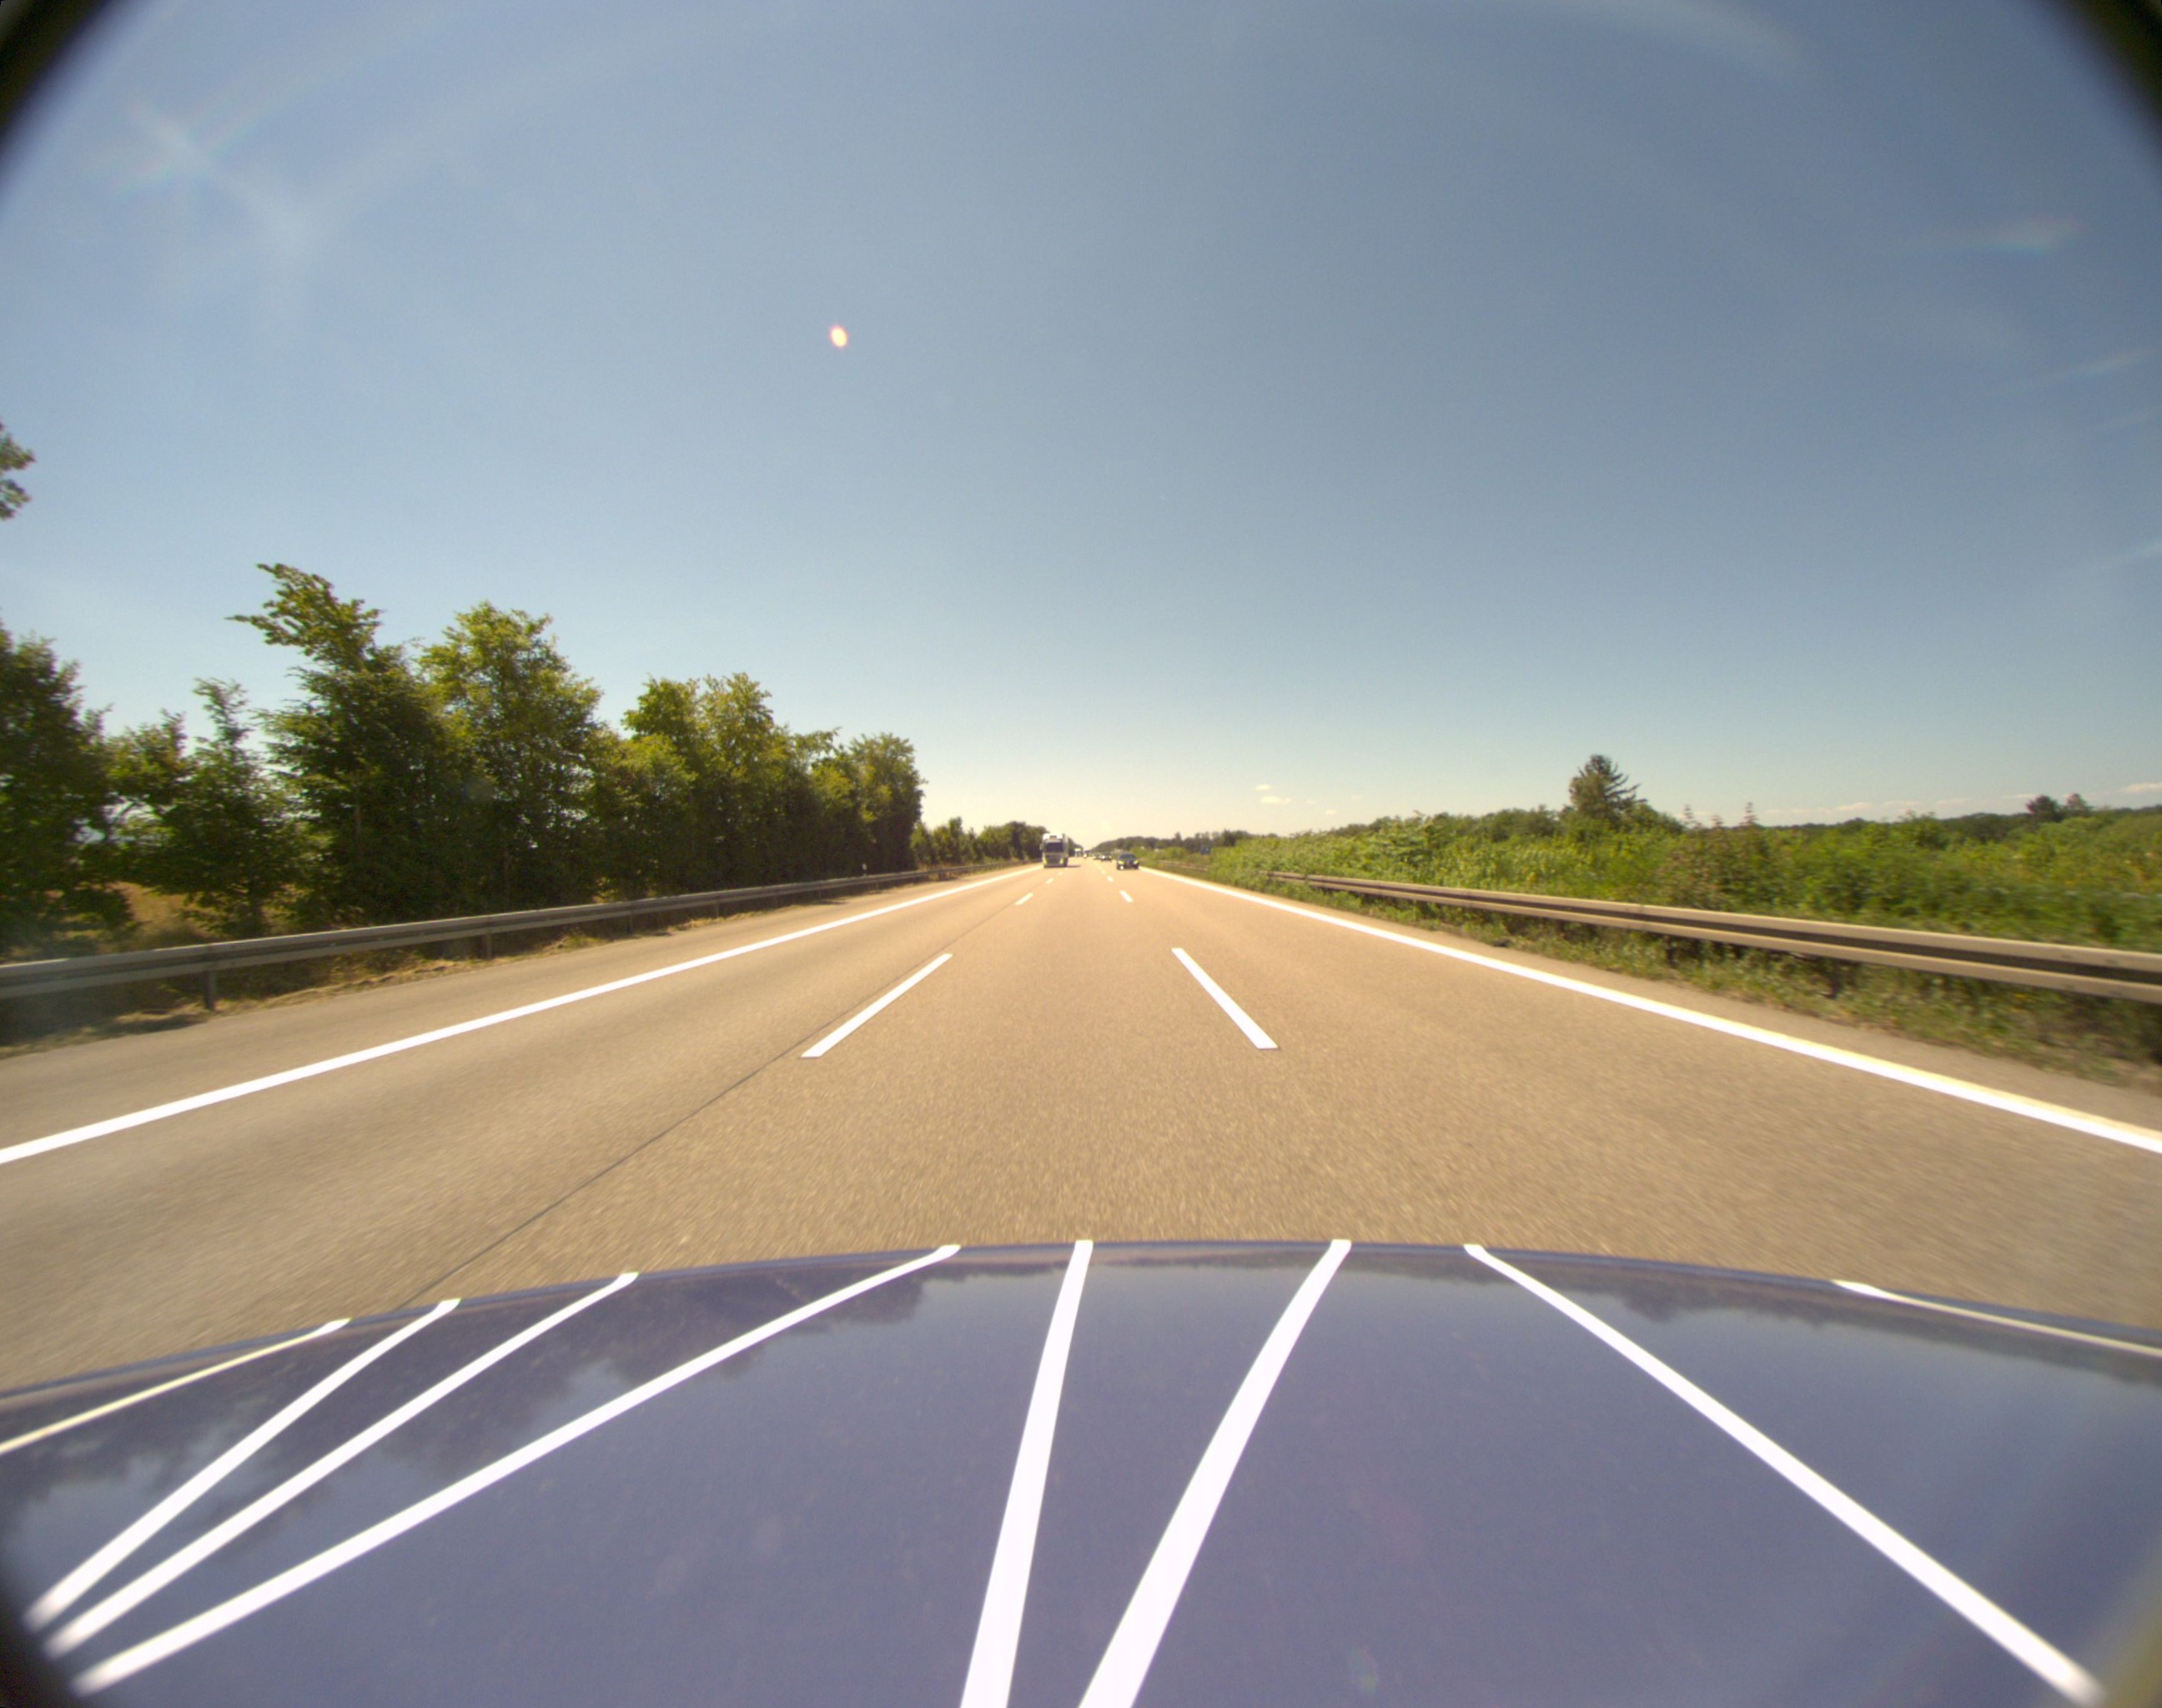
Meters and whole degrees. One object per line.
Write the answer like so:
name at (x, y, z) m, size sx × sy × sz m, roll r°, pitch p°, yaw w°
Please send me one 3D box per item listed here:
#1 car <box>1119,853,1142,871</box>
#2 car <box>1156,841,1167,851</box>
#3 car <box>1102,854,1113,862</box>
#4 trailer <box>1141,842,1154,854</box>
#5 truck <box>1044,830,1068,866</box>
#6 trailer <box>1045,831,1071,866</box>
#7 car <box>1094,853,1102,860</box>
car at (4.363, 0.679, 67.689) m, size 1.811 × 1.459 × 4.000 m, roll -2°, pitch 0°, yaw 1°
car at (22.425, -2.128, 212.896) m, size 2.476 × 2.693 × 5.519 m, roll -2°, pitch 0°, yaw 1°
car at (4.622, 0.676, 132.591) m, size 1.811 × 1.417 × 4.000 m, roll -2°, pitch 0°, yaw 1°
trailer at (22.813, -2.089, 261.602) m, size 2.941 × 3.847 × 13.909 m, roll -2°, pitch 0°, yaw 0°
truck at (-2.917, -0.692, 90.704) m, size 2.476 × 4.038 × 6.319 m, roll -2°, pitch 1°, yaw 1°
trailer at (-2.840, -0.732, 97.292) m, size 2.476 × 4.038 × 13.879 m, roll -2°, pitch 0°, yaw 1°
car at (3.931, 0.592, 175.495) m, size 1.811 × 1.417 × 4.000 m, roll -2°, pitch 0°, yaw 1°
